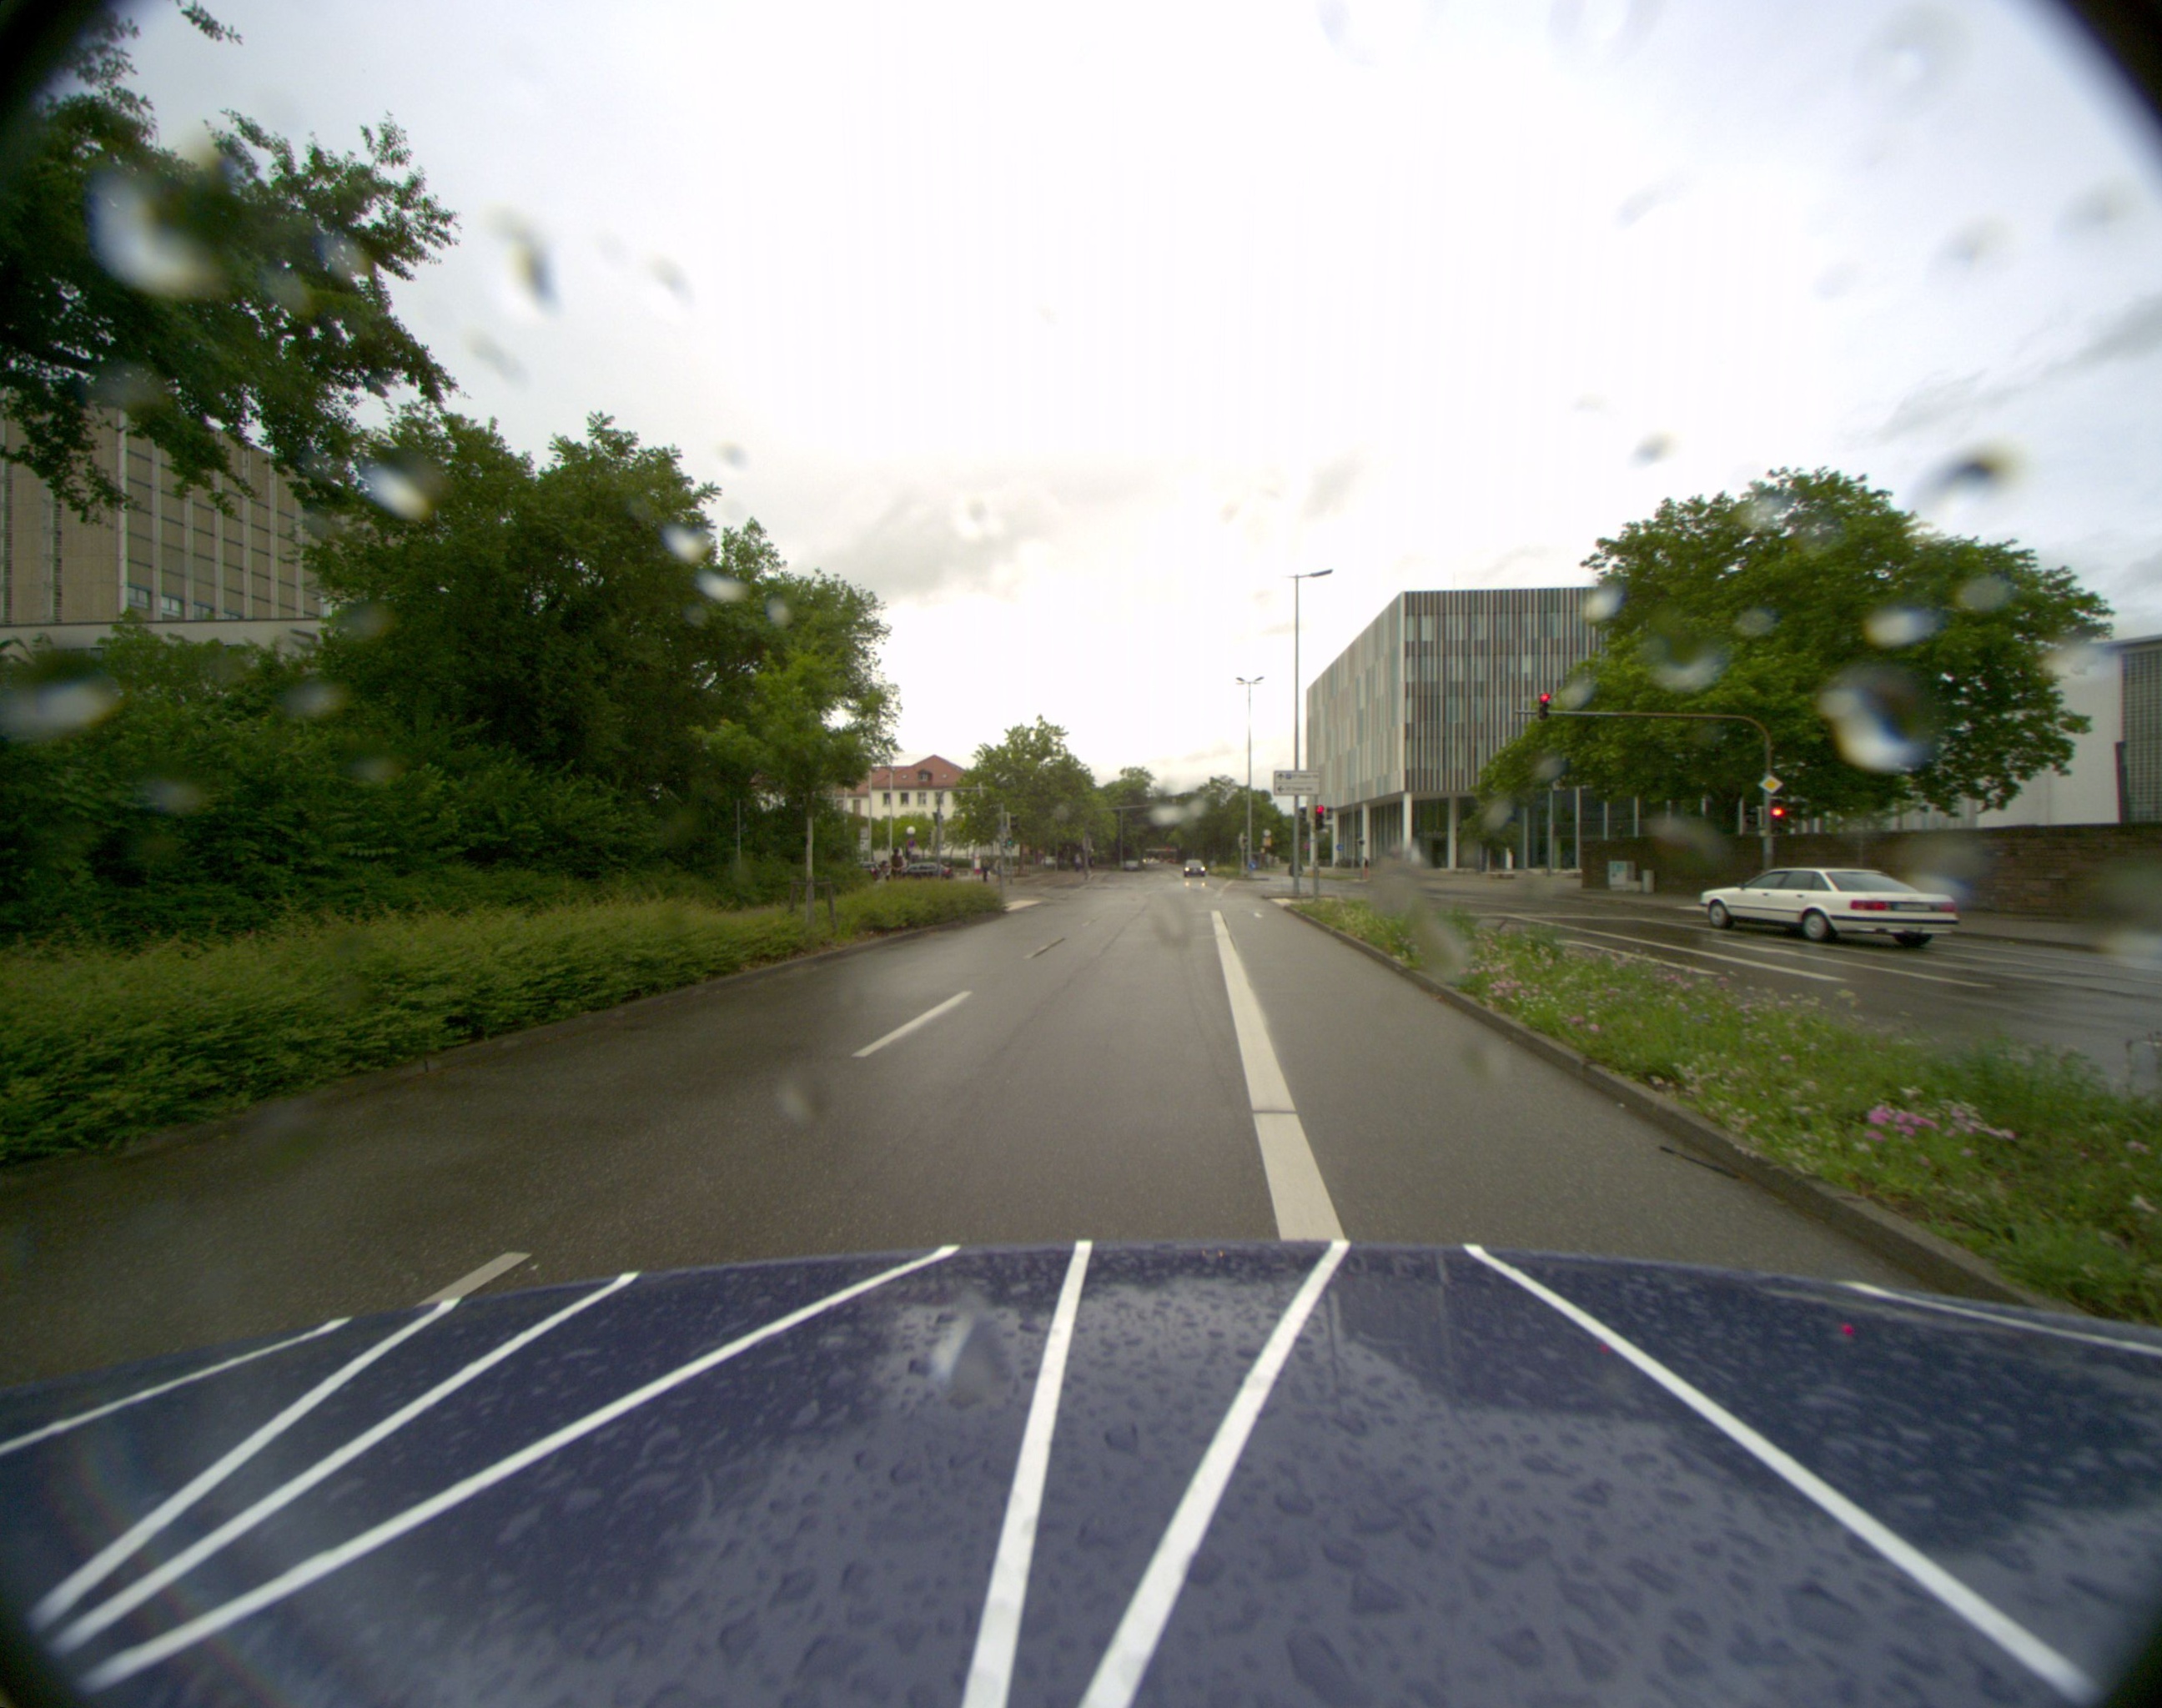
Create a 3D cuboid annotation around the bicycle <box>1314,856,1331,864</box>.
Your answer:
[{"bbox_3d":[35.956,0.849,113.165,2.281,1.215,0.599,0,0,17],"label":"bicycle"}]

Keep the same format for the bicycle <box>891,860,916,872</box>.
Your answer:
[{"bbox_3d":[-17.202,1.160,73.679,2.285,1.215,0.598,0,0,-5],"label":"bicycle"}]

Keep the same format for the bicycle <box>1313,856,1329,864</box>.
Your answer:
[{"bbox_3d":[36.484,0.853,115.623,2.281,1.215,0.599,0,0,17],"label":"bicycle"}]

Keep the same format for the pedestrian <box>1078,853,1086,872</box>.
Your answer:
[{"bbox_3d":[0.077,0.767,72.041,0.624,1.813,0.786,0,0,-7],"label":"pedestrian"}]

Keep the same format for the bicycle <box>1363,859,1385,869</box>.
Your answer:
[{"bbox_3d":[34.310,1.151,88.951,2.285,1.215,0.598,0,0,-5],"label":"bicycle"}]

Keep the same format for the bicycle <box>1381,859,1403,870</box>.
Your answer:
[{"bbox_3d":[35.051,1.147,85.719,2.285,1.215,0.598,0,0,-5],"label":"bicycle"}]

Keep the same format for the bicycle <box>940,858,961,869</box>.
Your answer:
[{"bbox_3d":[-15.062,1.113,87.637,2.285,1.215,0.598,0,0,-5],"label":"bicycle"}]

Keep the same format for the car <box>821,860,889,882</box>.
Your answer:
[{"bbox_3d":[-15.359,1.152,51.768,4.011,1.371,1.773,0,3,6],"label":"car"}]

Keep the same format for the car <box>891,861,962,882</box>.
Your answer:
[{"bbox_3d":[-10.451,1.186,51.466,4.385,1.330,1.773,0,3,4],"label":"car"}]

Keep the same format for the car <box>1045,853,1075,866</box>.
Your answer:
[{"bbox_3d":[-3.128,0.808,115.042,4.424,1.862,1.638,0,0,0],"label":"car"}]

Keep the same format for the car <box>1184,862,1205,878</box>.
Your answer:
[{"bbox_3d":[9.955,1.373,66.801,1.659,1.356,4.109,0,0,6],"label":"car"}]

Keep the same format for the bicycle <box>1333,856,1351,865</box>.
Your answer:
[{"bbox_3d":[35.421,0.851,102.955,2.281,1.215,0.599,0,0,17],"label":"bicycle"}]

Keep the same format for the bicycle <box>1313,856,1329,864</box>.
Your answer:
[{"bbox_3d":[36.109,0.851,114.267,2.281,1.215,0.599,0,0,17],"label":"bicycle"}]

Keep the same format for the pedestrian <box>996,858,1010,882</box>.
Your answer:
[{"bbox_3d":[-5.273,1.051,51.387,0.878,1.598,0.862,0,0,-15],"label":"pedestrian"}]

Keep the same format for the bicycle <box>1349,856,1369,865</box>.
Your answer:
[{"bbox_3d":[35.211,0.824,96.246,2.281,1.215,0.599,0,0,17],"label":"bicycle"}]

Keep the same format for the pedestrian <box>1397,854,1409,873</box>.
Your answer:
[{"bbox_3d":[29.788,0.863,70.349,0.787,1.813,0.624,0,0,-16],"label":"pedestrian"}]

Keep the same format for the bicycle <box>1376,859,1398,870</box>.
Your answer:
[{"bbox_3d":[34.797,1.147,86.370,2.285,1.215,0.598,0,0,-5],"label":"bicycle"}]

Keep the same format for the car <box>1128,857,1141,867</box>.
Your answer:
[{"bbox_3d":[7.084,1.014,100.097,1.659,1.259,4.109,0,0,6],"label":"car"}]

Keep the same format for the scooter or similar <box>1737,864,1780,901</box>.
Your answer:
[{"bbox_3d":[23.670,0.988,26.554,0.392,1.191,1.142,-7,0,3],"label":"scooter or similar"}]

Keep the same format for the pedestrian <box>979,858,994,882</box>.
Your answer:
[{"bbox_3d":[-6.397,1.054,51.523,0.878,1.598,0.862,0,0,-19],"label":"pedestrian"}]

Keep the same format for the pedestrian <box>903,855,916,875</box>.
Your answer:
[{"bbox_3d":[-14.995,0.947,66.503,0.850,1.728,1.121,-1,1,-25],"label":"pedestrian"}]

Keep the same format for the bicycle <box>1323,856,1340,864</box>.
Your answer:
[{"bbox_3d":[36.418,0.845,110.572,2.281,1.215,0.599,0,0,17],"label":"bicycle"}]

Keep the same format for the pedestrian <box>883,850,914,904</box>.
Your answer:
[{"bbox_3d":[-6.297,0.780,26.293,0.730,1.848,0.851,0,0,14],"label":"pedestrian"}]

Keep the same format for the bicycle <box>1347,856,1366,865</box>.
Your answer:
[{"bbox_3d":[35.257,0.825,97.284,2.281,1.215,0.599,0,0,17],"label":"bicycle"}]

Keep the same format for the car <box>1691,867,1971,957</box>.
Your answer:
[{"bbox_3d":[14.596,1.016,15.231,1.599,1.407,4.527,1,0,8],"label":"car"}]

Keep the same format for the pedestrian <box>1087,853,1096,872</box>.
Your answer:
[{"bbox_3d":[0.962,0.785,71.413,0.625,1.813,0.786,0,0,-14],"label":"pedestrian"}]

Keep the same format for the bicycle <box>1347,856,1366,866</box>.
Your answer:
[{"bbox_3d":[35.531,0.895,98.174,2.281,1.215,0.599,0,0,17],"label":"bicycle"}]

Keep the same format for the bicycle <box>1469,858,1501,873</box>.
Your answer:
[{"bbox_3d":[32.155,0.917,60.536,2.285,1.215,0.598,0,0,-5],"label":"bicycle"}]

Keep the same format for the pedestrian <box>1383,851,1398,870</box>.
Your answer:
[{"bbox_3d":[29.998,0.642,73.653,0.940,1.813,0.922,0,0,-16],"label":"pedestrian"}]

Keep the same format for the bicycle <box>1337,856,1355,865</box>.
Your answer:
[{"bbox_3d":[35.252,0.831,101.198,2.281,1.215,0.599,0,0,17],"label":"bicycle"}]

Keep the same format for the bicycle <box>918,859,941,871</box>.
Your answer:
[{"bbox_3d":[-15.558,1.099,77.907,2.285,1.215,0.598,0,0,-5],"label":"bicycle"}]

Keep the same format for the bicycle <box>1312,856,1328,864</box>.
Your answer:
[{"bbox_3d":[36.850,0.855,117.142,2.281,1.215,0.599,0,0,17],"label":"bicycle"}]

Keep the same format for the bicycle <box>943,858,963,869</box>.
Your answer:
[{"bbox_3d":[-15.065,1.116,89.732,2.285,1.215,0.598,0,0,-5],"label":"bicycle"}]

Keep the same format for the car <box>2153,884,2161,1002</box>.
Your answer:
[{"bbox_3d":[13.347,1.078,6.948,1.626,1.407,4.069,1,0,8],"label":"car"}]

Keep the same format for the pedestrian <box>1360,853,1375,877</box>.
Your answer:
[{"bbox_3d":[22.030,0.833,58.383,0.787,1.813,0.795,0,0,-16],"label":"pedestrian"}]

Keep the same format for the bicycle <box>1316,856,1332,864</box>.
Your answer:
[{"bbox_3d":[35.889,0.848,112.282,2.281,1.215,0.599,0,0,17],"label":"bicycle"}]

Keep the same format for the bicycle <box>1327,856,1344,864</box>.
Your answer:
[{"bbox_3d":[36.533,0.844,109.203,2.281,1.215,0.599,0,0,17],"label":"bicycle"}]

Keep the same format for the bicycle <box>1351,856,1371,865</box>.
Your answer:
[{"bbox_3d":[35.048,0.822,95.170,2.281,1.215,0.599,0,0,17],"label":"bicycle"}]

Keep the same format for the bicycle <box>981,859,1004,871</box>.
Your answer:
[{"bbox_3d":[-8.835,1.101,75.932,2.285,1.215,0.598,0,0,-5],"label":"bicycle"}]

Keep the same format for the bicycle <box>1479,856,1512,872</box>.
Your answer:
[{"bbox_3d":[32.442,0.798,59.509,2.285,1.215,0.598,0,0,-5],"label":"bicycle"}]

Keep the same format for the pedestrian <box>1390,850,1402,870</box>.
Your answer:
[{"bbox_3d":[29.926,0.566,72.133,0.787,1.813,0.624,0,0,-16],"label":"pedestrian"}]

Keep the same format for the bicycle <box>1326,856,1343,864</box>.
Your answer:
[{"bbox_3d":[36.207,0.842,108.601,2.281,1.215,0.599,0,0,17],"label":"bicycle"}]

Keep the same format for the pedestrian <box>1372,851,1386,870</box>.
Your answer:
[{"bbox_3d":[29.070,0.642,74.145,0.940,1.813,0.922,0,0,-23],"label":"pedestrian"}]

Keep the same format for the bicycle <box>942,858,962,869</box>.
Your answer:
[{"bbox_3d":[-15.035,1.115,88.649,2.285,1.215,0.598,0,0,-5],"label":"bicycle"}]

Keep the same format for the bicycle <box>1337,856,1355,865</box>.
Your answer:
[{"bbox_3d":[35.018,0.830,100.394,2.281,1.215,0.599,0,0,17],"label":"bicycle"}]

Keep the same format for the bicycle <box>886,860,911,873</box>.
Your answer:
[{"bbox_3d":[-17.536,1.162,72.942,2.285,1.215,0.598,0,0,-5],"label":"bicycle"}]
